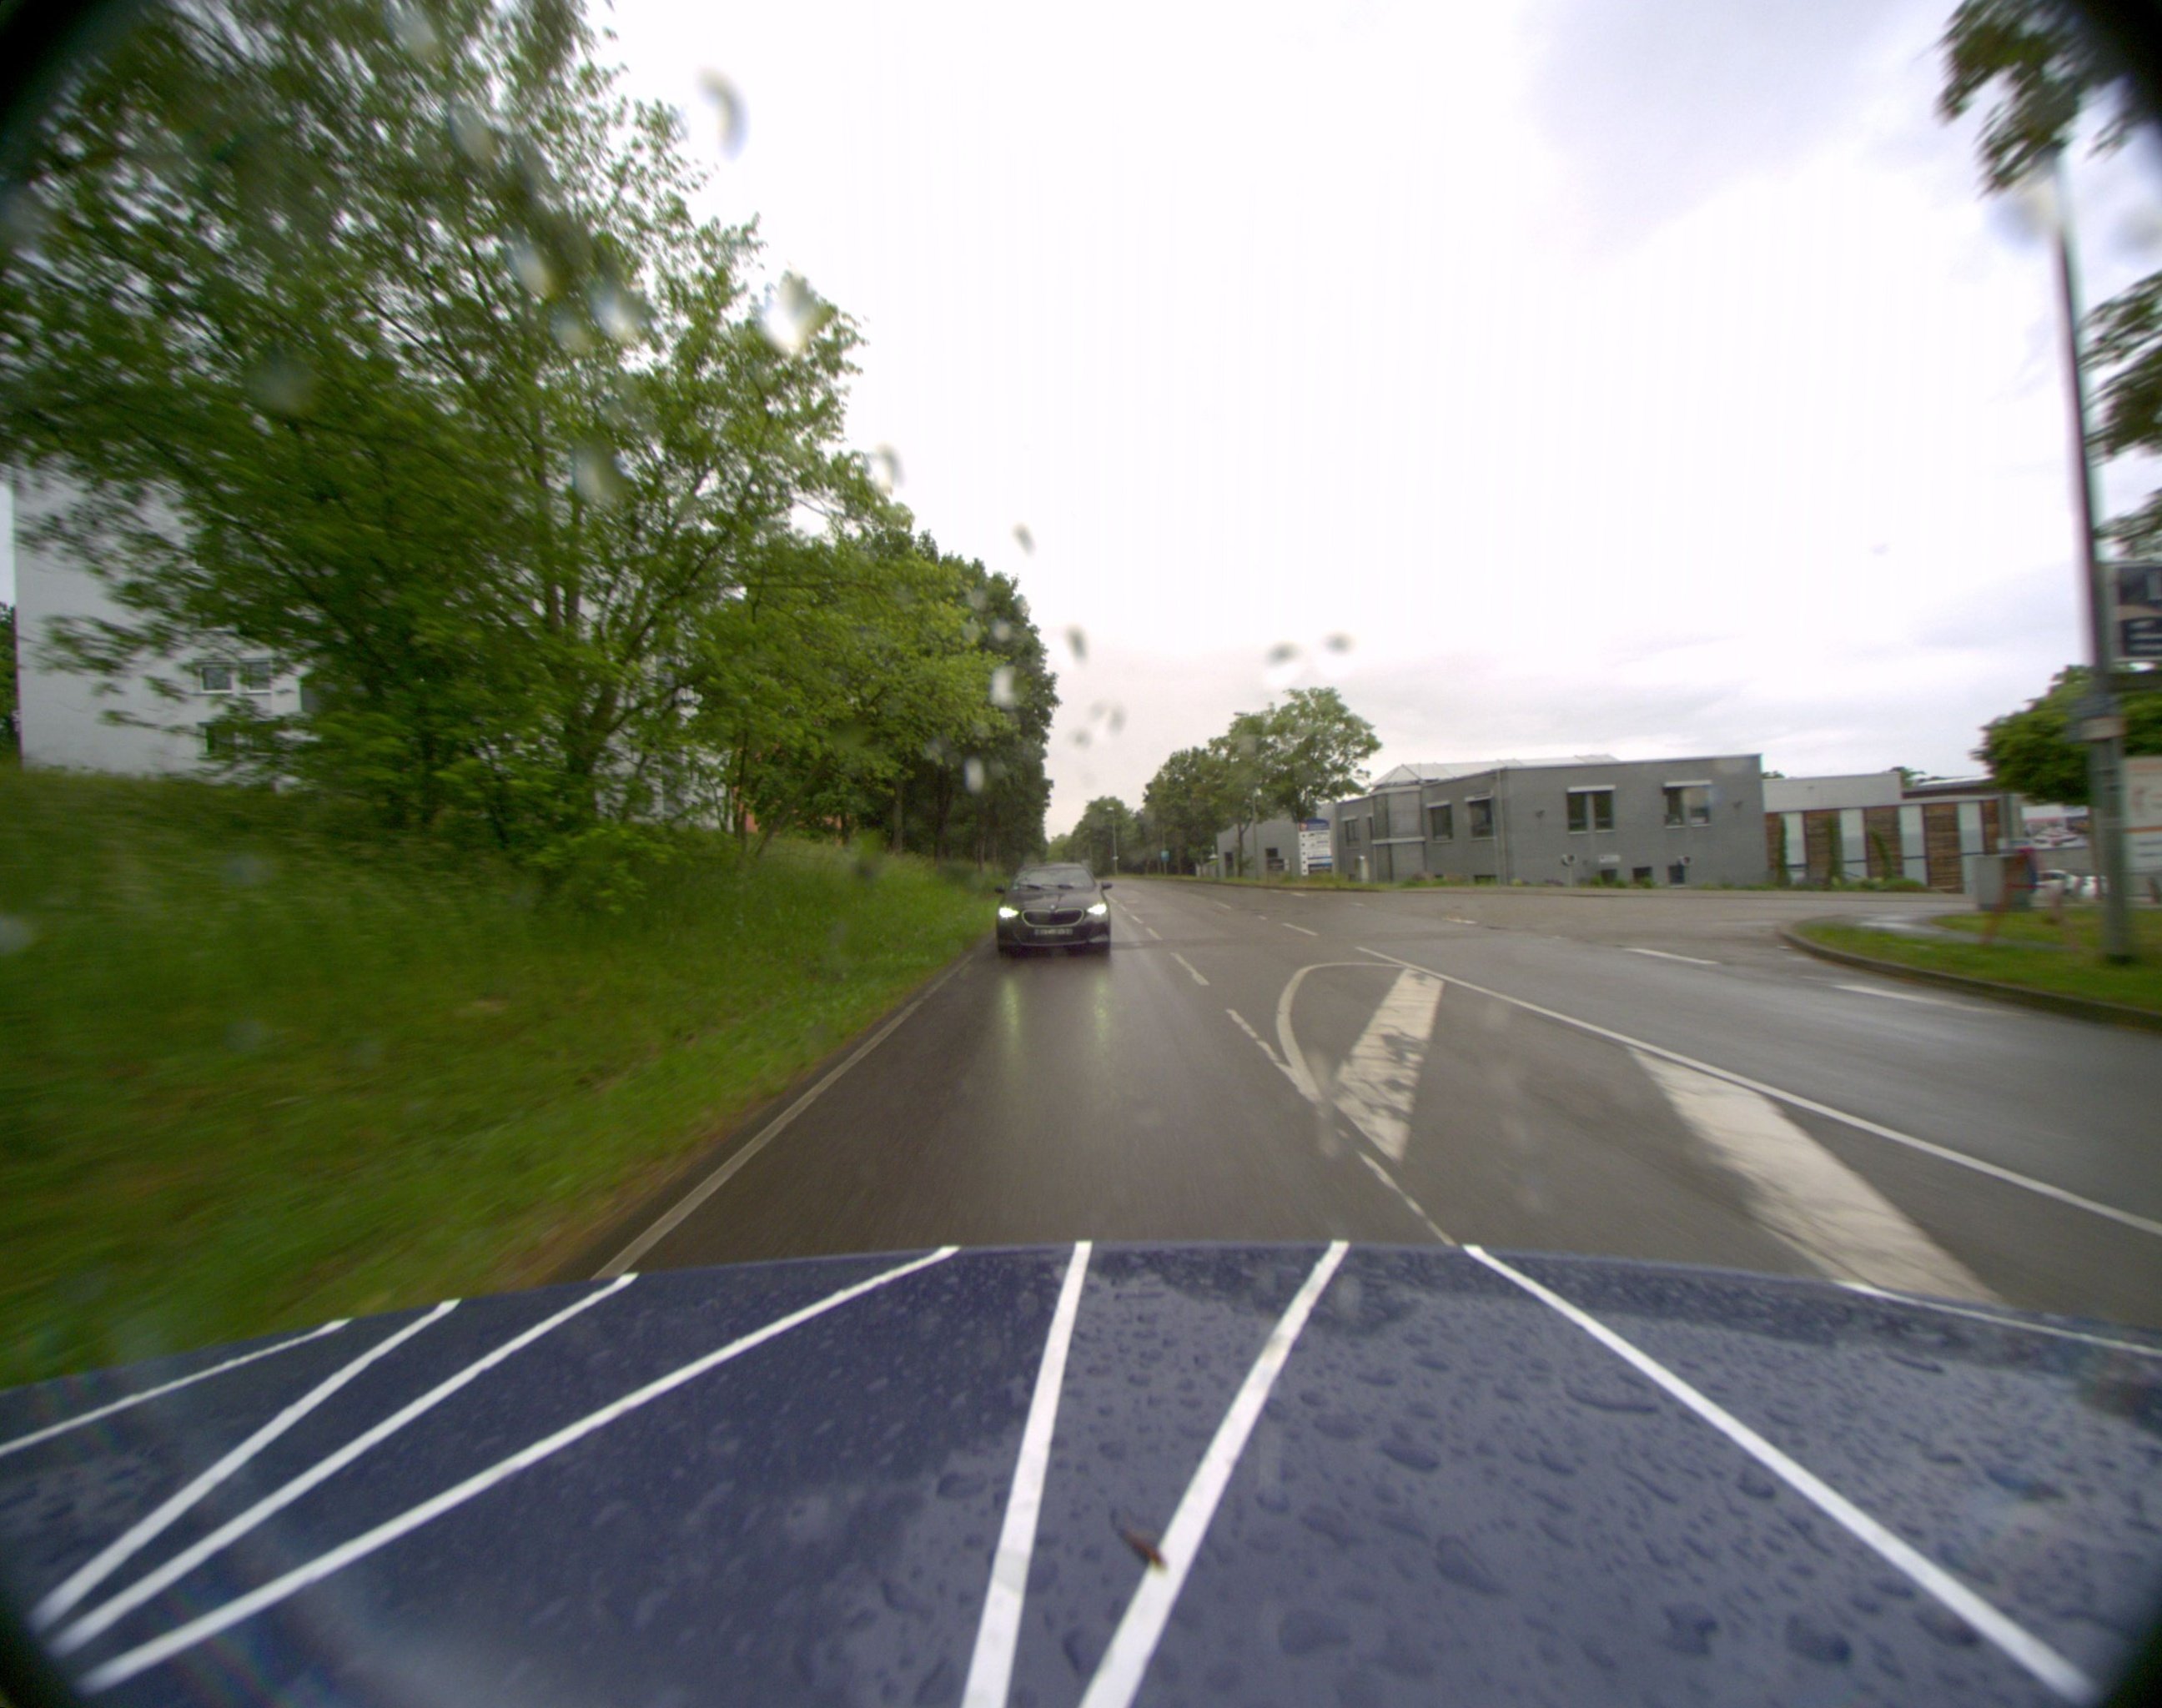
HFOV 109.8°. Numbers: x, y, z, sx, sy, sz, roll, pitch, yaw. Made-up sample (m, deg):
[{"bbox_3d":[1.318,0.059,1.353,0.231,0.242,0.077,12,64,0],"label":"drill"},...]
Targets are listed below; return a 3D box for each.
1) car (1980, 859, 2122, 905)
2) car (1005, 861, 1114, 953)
[{"bbox_3d":[40.510,1.217,31.846,1.507,1.542,3.205,0,-9,-5],"label":"car"},{"bbox_3d":[-0.441,0.942,15.159,1.845,1.471,3.999,-2,0,-2],"label":"car"}]
